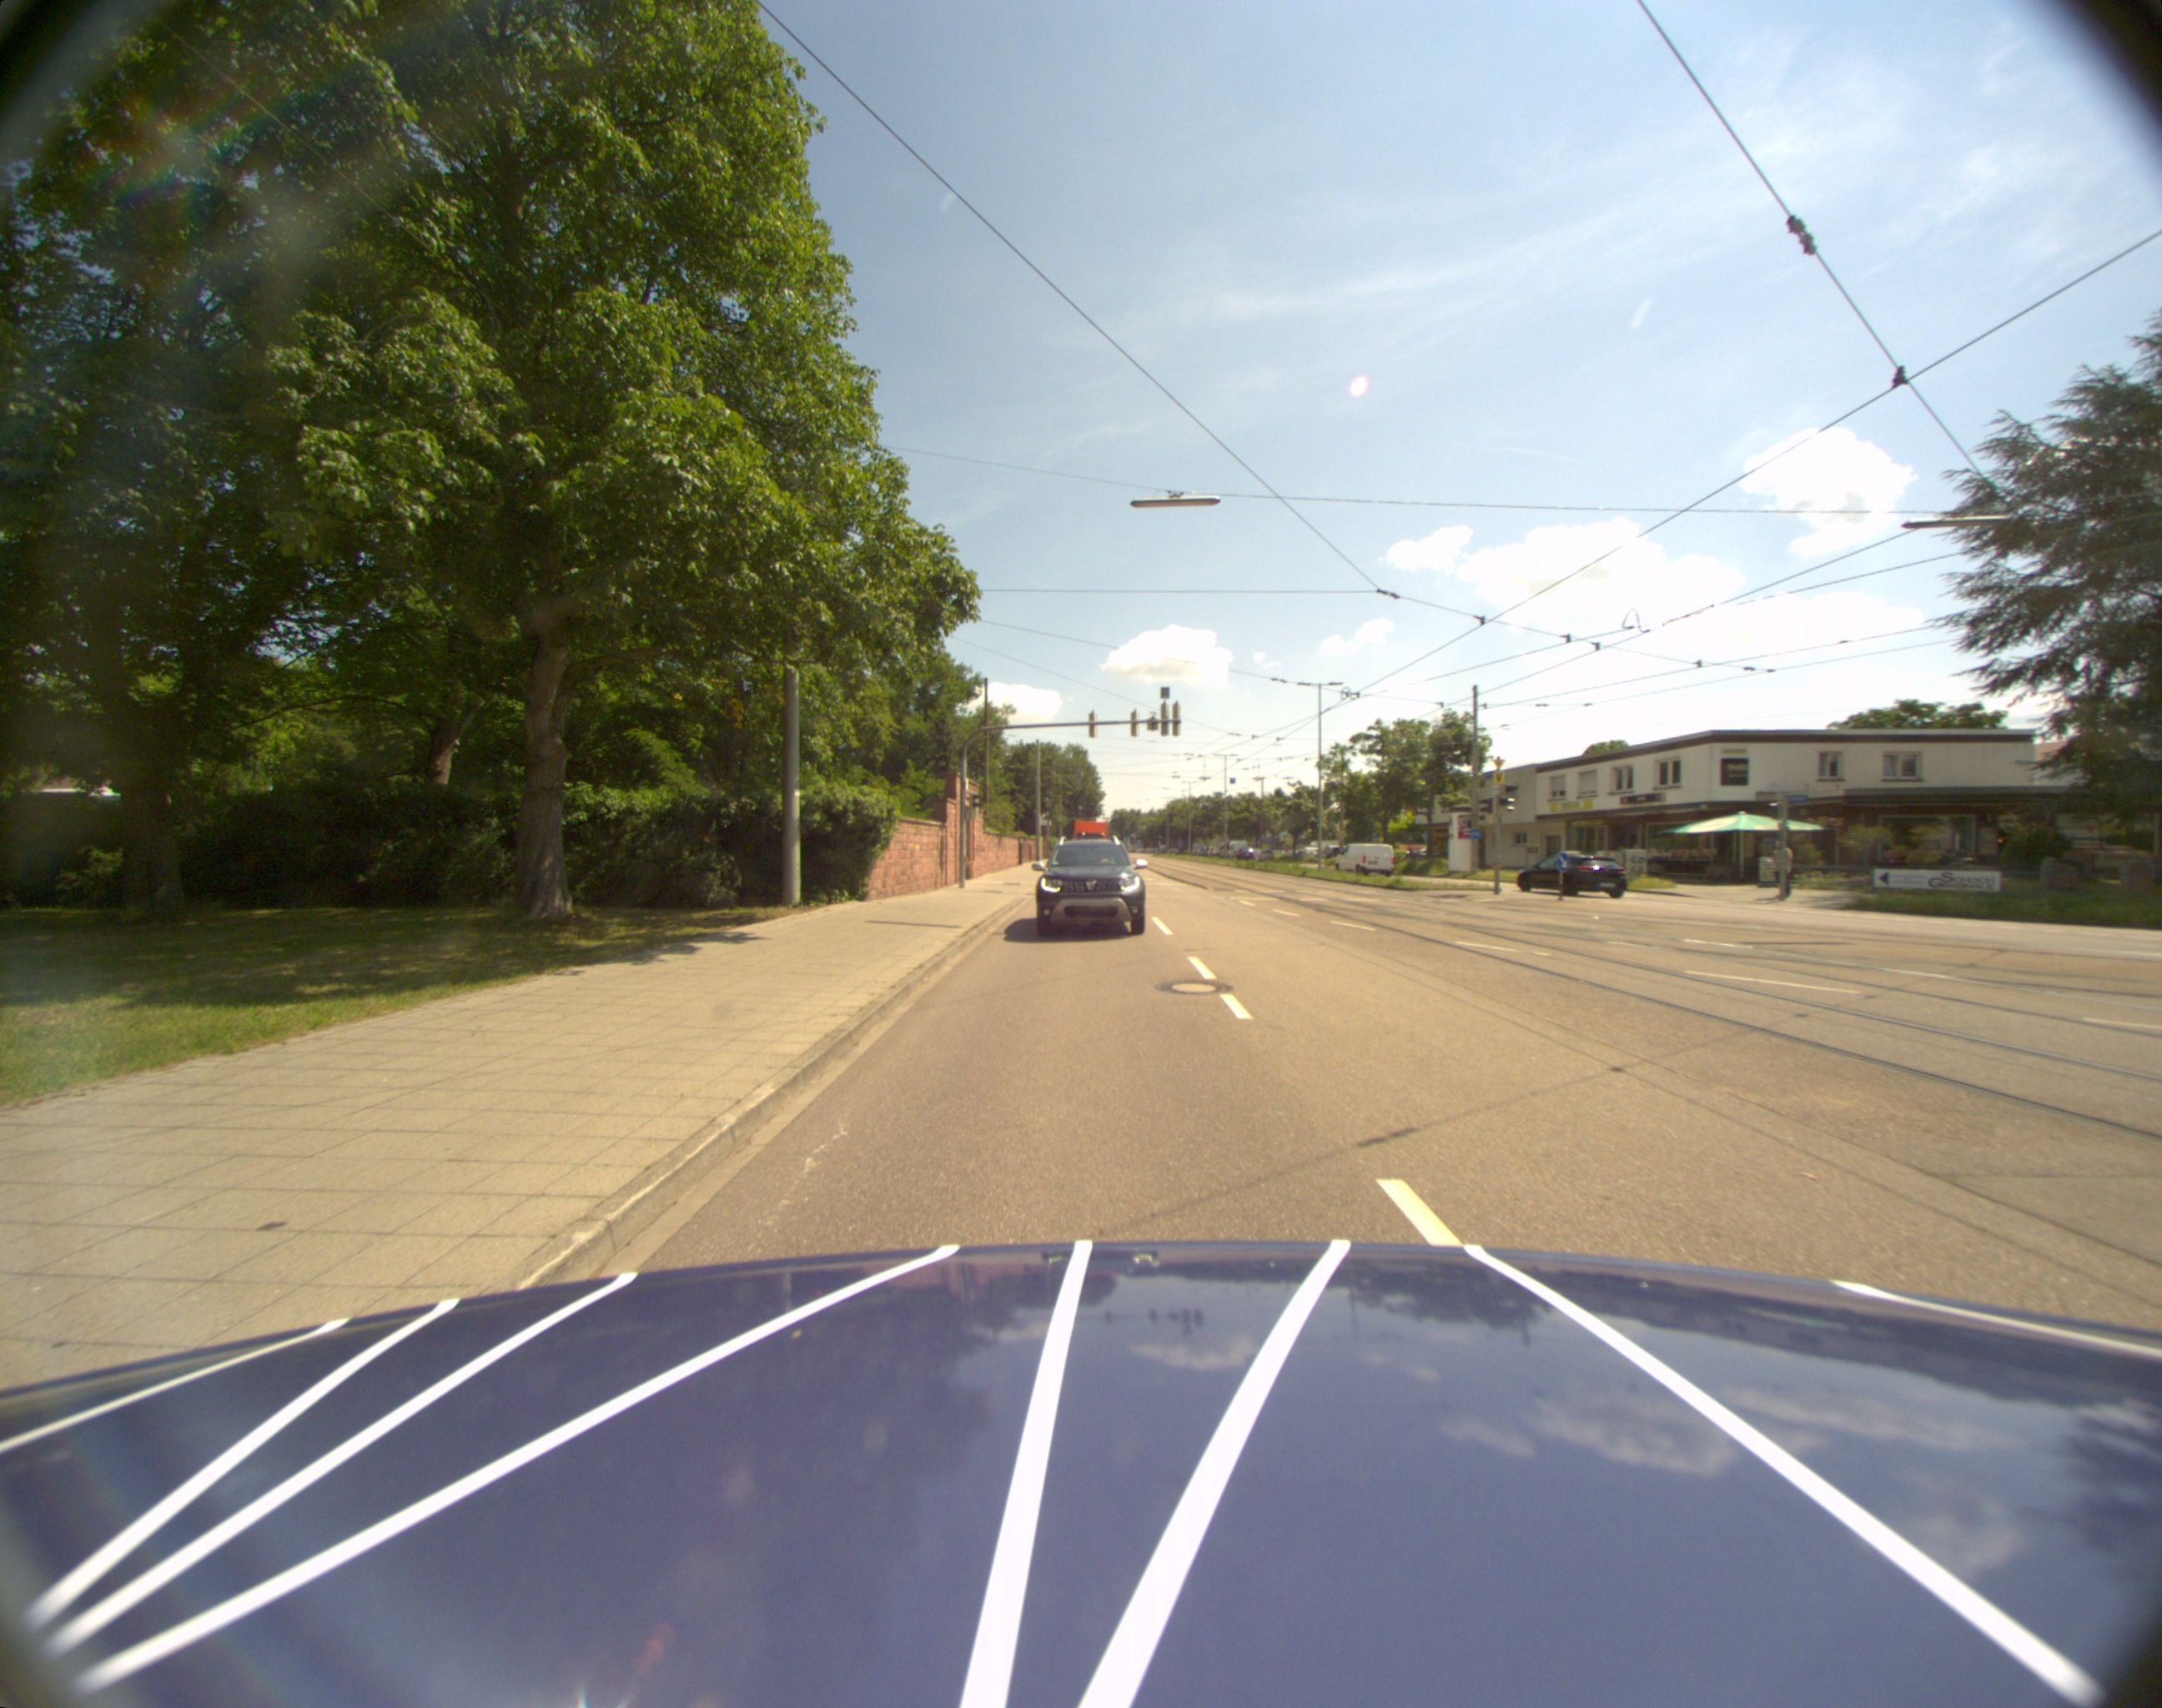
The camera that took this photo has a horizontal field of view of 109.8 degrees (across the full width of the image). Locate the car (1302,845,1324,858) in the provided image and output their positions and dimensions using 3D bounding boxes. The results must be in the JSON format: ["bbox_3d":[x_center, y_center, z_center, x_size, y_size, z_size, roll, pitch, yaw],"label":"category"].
[{"bbox_3d":[31.342,-0.322,102.879,1.744,1.684,3.999,0,1,0],"label":"car"}]

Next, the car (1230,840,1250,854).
[{"bbox_3d":[21.790,-0.947,104.393,1.966,1.953,3.999,1,1,0],"label":"car"}]

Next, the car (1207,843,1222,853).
[{"bbox_3d":[22.499,-1.072,127.940,1.744,1.684,3.999,1,1,0],"label":"car"}]

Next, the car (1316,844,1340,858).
[{"bbox_3d":[30.678,-0.413,94.545,1.744,1.684,3.999,1,1,0],"label":"car"}]

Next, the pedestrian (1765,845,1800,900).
[{"bbox_3d":[23.268,0.606,25.215,0.488,1.765,0.682,-5,3,-18],"label":"pedestrian"}]

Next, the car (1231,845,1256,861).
[{"bbox_3d":[16.468,-0.114,77.175,1.744,1.587,3.999,1,1,0],"label":"car"}]

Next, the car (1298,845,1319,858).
[{"bbox_3d":[32.327,-0.376,108.176,1.744,1.684,3.999,0,1,0],"label":"car"}]

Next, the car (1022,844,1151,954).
[{"bbox_3d":[0.222,0.634,13.175,1.845,1.565,4.488,-1,0,4],"label":"car"}]

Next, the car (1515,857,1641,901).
[{"bbox_3d":[17.183,0.803,26.533,1.784,1.346,4.000,0,1,1],"label":"car"}]

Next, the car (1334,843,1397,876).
[{"bbox_3d":[16.585,0.283,44.534,1.863,1.865,4.553,0,1,-2],"label":"car"}]

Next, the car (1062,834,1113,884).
[{"bbox_3d":[0.222,0.159,32.096,1.999,2.002,3.998,0,1,-2],"label":"car"}]

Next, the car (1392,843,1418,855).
[{"bbox_3d":[44.565,-0.676,104.573,1.744,1.684,3.999,1,1,0],"label":"car"}]

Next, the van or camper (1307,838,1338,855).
[{"bbox_3d":[46.416,-1.478,146.200,5.157,3.099,2.247,1,1,1],"label":"van or camper"}]

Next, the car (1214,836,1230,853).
[{"bbox_3d":[22.105,-1.536,119.165,1.744,2.573,3.999,1,1,0],"label":"car"}]

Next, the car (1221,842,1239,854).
[{"bbox_3d":[21.755,-0.913,111.060,1.744,1.684,3.999,0,1,0],"label":"car"}]

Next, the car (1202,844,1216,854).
[{"bbox_3d":[22.623,-0.836,134.708,1.744,1.684,3.999,1,1,0],"label":"car"}]

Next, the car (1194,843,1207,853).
[{"bbox_3d":[22.185,-1.145,140.898,1.744,1.684,3.999,1,1,0],"label":"car"}]

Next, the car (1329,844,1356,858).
[{"bbox_3d":[30.917,-0.371,89.964,1.744,1.684,3.999,1,1,0],"label":"car"}]
